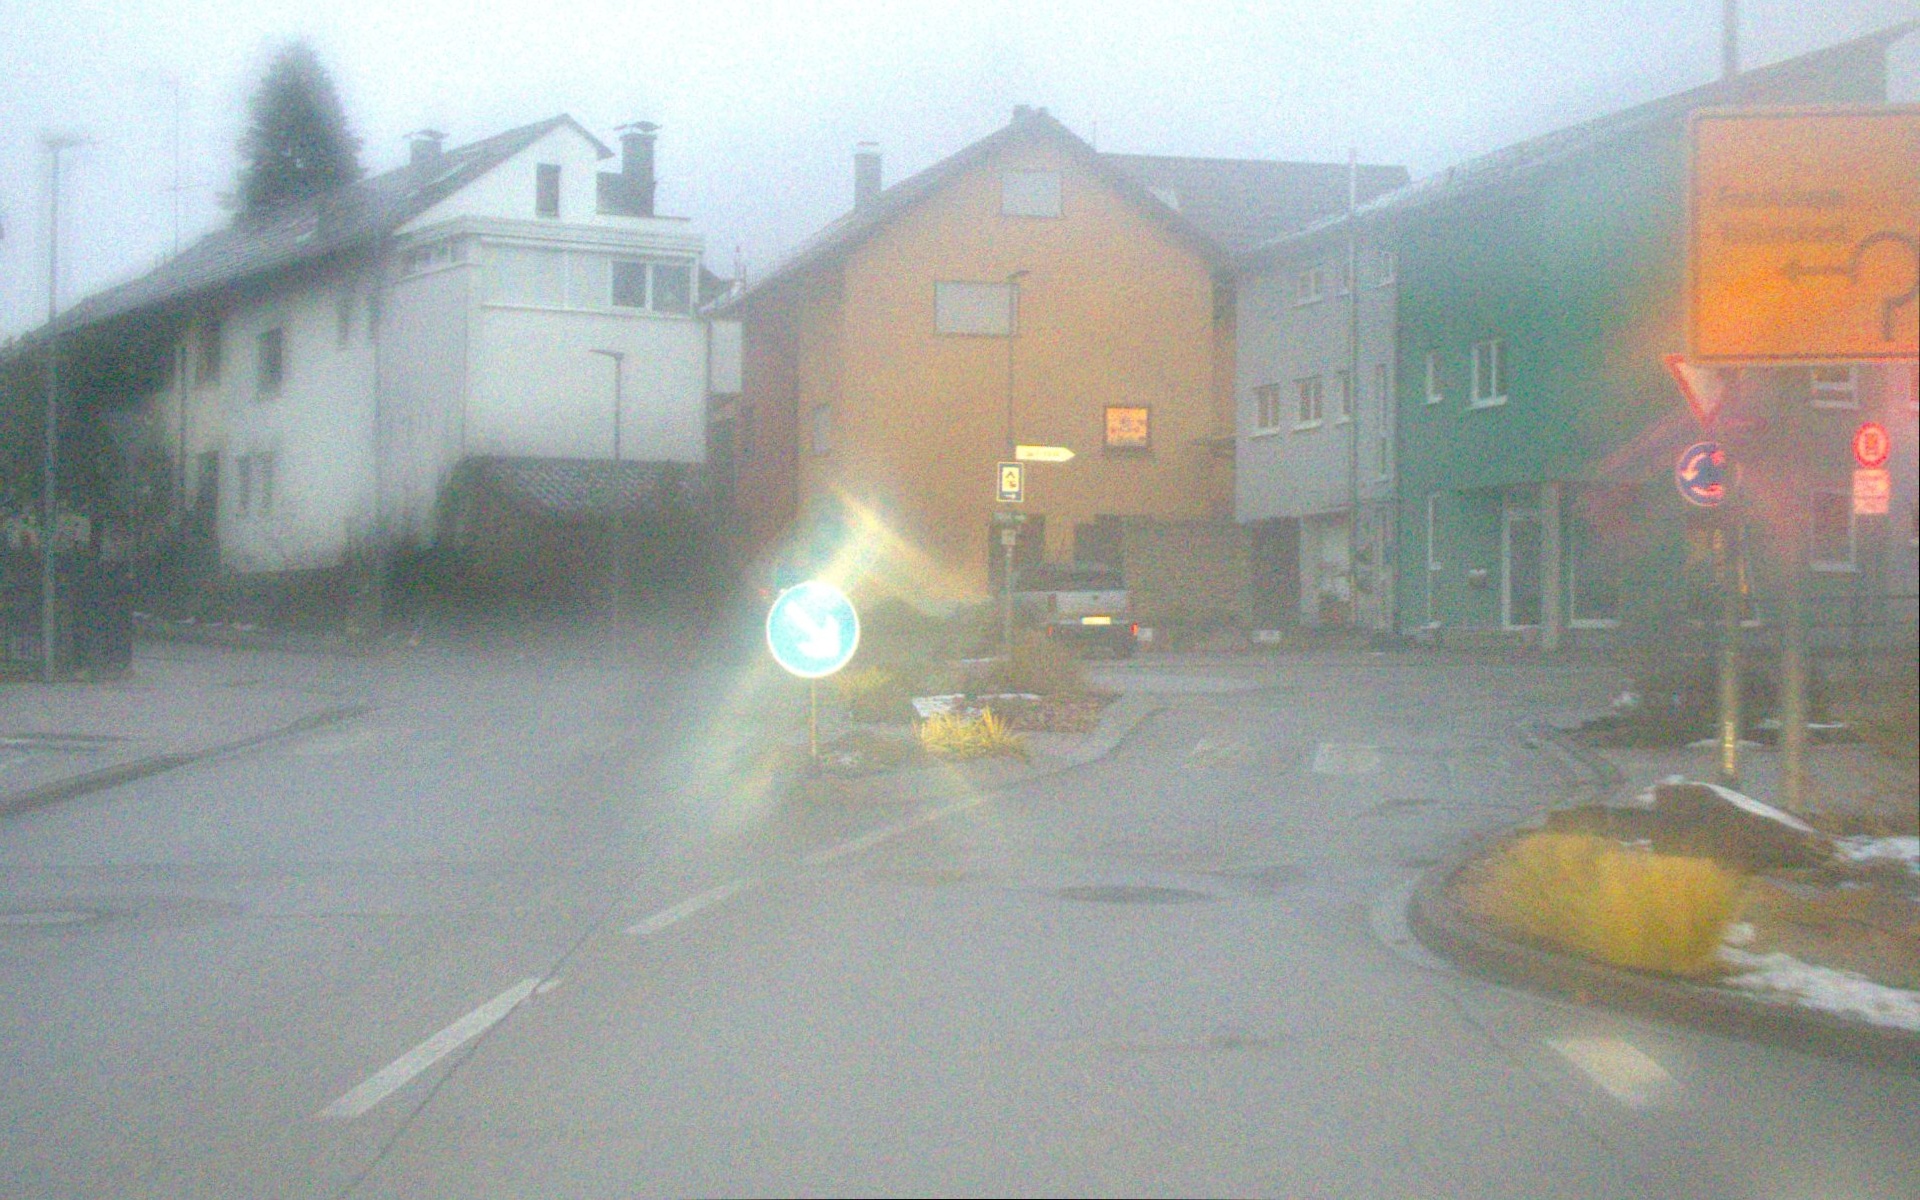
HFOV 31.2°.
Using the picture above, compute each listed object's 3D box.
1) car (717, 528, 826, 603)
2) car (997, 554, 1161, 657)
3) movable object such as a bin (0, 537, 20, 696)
[{"bbox_3d":[-4.305,-0.802,77.876,1.993,1.638,4.001,1,1,-10],"label":"car"},{"bbox_3d":[1.985,0.072,58.669,1.993,1.638,4.001,1,1,-10],"label":"car"},{"bbox_3d":[-9.843,0.161,33.404,1.096,1.538,1.289,0,1,-2],"label":"movable object such as a bin"}]
